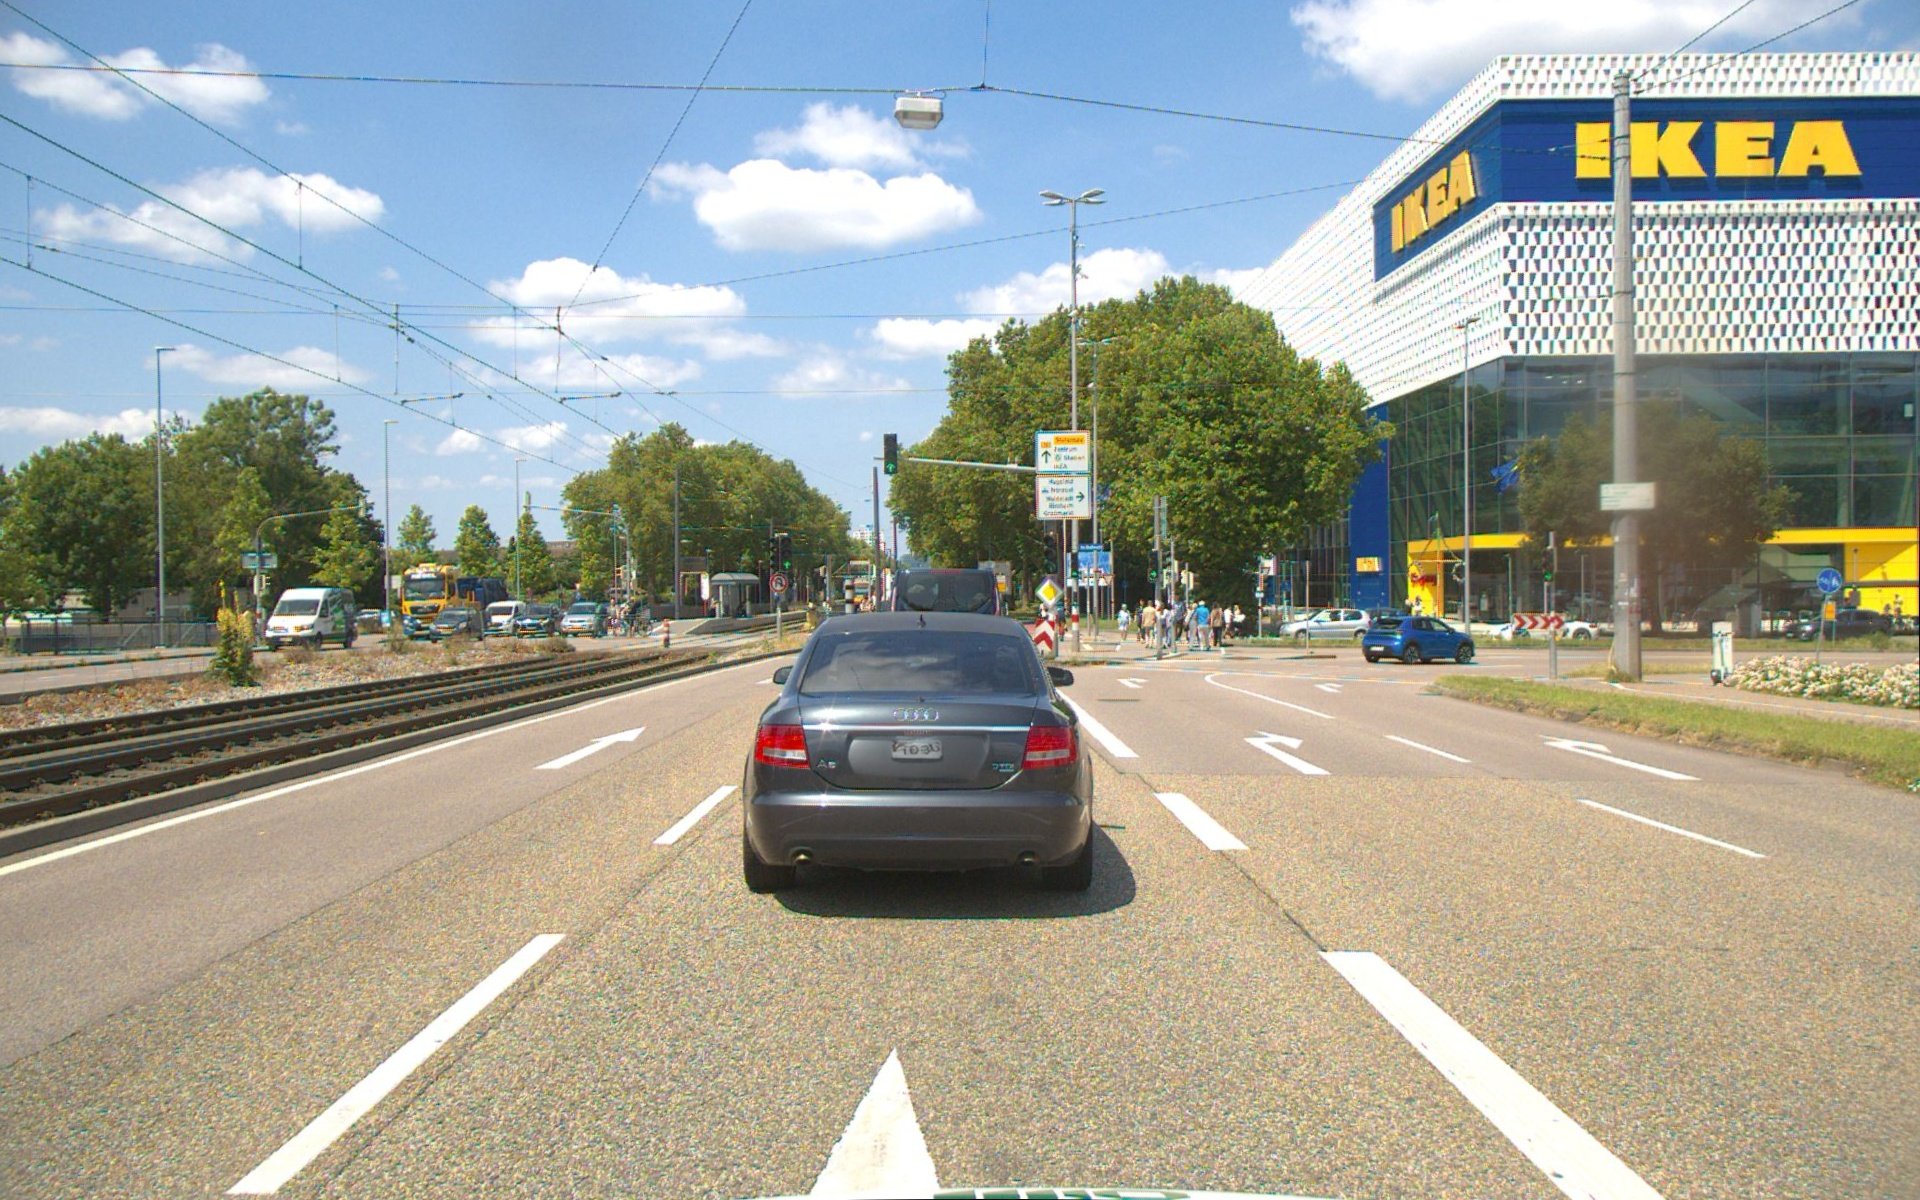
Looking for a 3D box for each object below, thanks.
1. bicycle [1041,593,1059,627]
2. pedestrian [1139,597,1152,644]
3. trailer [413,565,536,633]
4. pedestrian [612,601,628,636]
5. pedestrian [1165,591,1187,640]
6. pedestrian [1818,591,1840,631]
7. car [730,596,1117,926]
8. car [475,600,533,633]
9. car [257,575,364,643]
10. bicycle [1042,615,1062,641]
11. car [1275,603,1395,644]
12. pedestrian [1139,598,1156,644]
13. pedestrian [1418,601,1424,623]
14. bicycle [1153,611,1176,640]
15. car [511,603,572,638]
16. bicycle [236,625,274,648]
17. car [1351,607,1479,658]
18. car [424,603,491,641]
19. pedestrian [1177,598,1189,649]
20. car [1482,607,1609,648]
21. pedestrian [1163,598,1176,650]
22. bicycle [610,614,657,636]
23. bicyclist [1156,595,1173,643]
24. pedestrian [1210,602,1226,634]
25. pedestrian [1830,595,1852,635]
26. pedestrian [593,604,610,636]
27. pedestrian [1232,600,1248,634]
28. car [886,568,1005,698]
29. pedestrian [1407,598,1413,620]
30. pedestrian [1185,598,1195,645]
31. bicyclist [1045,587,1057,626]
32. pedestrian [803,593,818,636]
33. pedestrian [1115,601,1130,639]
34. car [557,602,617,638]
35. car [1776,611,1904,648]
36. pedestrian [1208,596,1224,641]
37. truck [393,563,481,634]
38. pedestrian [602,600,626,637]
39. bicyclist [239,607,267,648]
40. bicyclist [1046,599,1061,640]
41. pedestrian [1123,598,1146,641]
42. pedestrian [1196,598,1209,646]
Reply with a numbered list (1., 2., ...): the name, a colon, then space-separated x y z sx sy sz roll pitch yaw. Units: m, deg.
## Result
1. bicycle: 4.223 0.468 77.504 0.673 1.545 2.751 1 0 0
2. pedestrian: 6.674 0.737 59.572 0.435 1.664 0.430 1 0 2
3. trailer: -27.930 -0.050 96.146 2.711 3.580 15.874 0 0 -1
4. pedestrian: -15.704 0.854 76.431 0.671 1.592 0.572 0 -1 -4
5. pedestrian: 8.461 0.600 64.696 0.671 1.878 0.706 0 0 25
6. pedestrian: 45.233 0.553 86.105 0.696 2.049 0.824 1 0 1
7. car: -0.182 0.726 9.526 1.756 1.480 3.999 0 0 -1
8. car: -24.418 0.855 88.641 1.785 1.699 4.461 1 0 1
9. car: -27.296 0.324 69.791 2.198 2.634 6.231 -2 1 -3
10. bicycle: 3.794 1.149 68.270 0.673 1.023 2.751 1 0 0
11. car: 15.051 0.938 66.609 4.403 1.512 2.001 2 0 3
12. pedestrian: 6.754 0.747 59.612 0.542 1.664 0.433 1 0 2
13. pedestrian: 28.822 0.755 103.459 0.283 1.366 0.266 0 -1 -1
14. bicycle: 7.653 0.947 61.816 0.645 1.040 1.863 0 0 13
15. car: -21.153 1.024 83.851 1.784 1.699 4.462 1 0 2
16. bicycle: -31.614 1.637 74.190 1.461 1.004 0.485 1 0 -5
17. car: 14.170 1.019 51.463 3.956 1.480 1.819 1 0 -37
18. car: -23.704 0.999 78.182 1.785 1.699 4.460 1 0 -1
19. pedestrian: 7.265 0.763 53.823 0.332 1.664 0.377 1 0 2
20. car: 23.556 1.094 66.655 4.403 1.512 2.001 2 0 3
21. pedestrian: 6.809 0.778 53.836 0.373 1.664 0.377 1 0 2
22. bicycle: -14.685 1.127 74.420 2.019 0.941 0.751 1 0 -11
23. bicyclist: 7.656 0.718 61.899 0.517 1.795 0.828 0 -1 13
24. pedestrian: 12.706 0.872 81.510 0.690 1.571 0.678 0 0 18
25. pedestrian: 45.264 0.761 85.001 0.696 2.049 0.824 1 0 1
26. pedestrian: -16.328 0.897 75.310 0.671 1.468 0.572 0 -1 -4
27. pedestrian: 13.836 0.831 81.703 0.690 1.664 0.612 0 0 18
28. car: -0.248 0.512 27.123 1.799 1.984 3.999 0 0 -1
29. pedestrian: 28.389 0.578 104.271 0.283 1.366 0.266 0 -1 -1
30. pedestrian: 8.045 0.751 57.815 0.314 1.664 0.377 1 0 2
31. bicyclist: 4.241 0.311 77.117 0.518 1.820 1.088 0 -1 -1
32. pedestrian: -7.036 0.683 77.923 0.672 2.049 0.572 0 -1 -5
33. pedestrian: 6.625 0.800 67.435 0.483 1.546 0.707 0 0 17
34. car: -18.497 0.982 82.195 1.784 1.699 4.462 1 0 2
35. car: 37.312 1.229 70.205 4.403 1.512 2.001 1 0 3
36. pedestrian: 9.653 0.693 62.355 0.510 1.699 0.494 1 0 2
37. truck: -27.806 -0.086 88.174 2.711 3.631 6.438 0 0 -1
38. pedestrian: -16.354 0.861 78.153 0.806 1.750 0.775 0 -1 21
39. bicyclist: -31.704 1.235 74.174 1.097 1.805 0.340 1 0 -6
40. bicyclist: 3.863 0.809 68.324 0.518 1.705 1.088 0 -1 0
41. pedestrian: 6.826 0.742 64.734 0.699 1.664 0.706 0 0 25
42. pedestrian: 8.465 0.766 57.668 0.389 1.664 0.371 1 0 2
